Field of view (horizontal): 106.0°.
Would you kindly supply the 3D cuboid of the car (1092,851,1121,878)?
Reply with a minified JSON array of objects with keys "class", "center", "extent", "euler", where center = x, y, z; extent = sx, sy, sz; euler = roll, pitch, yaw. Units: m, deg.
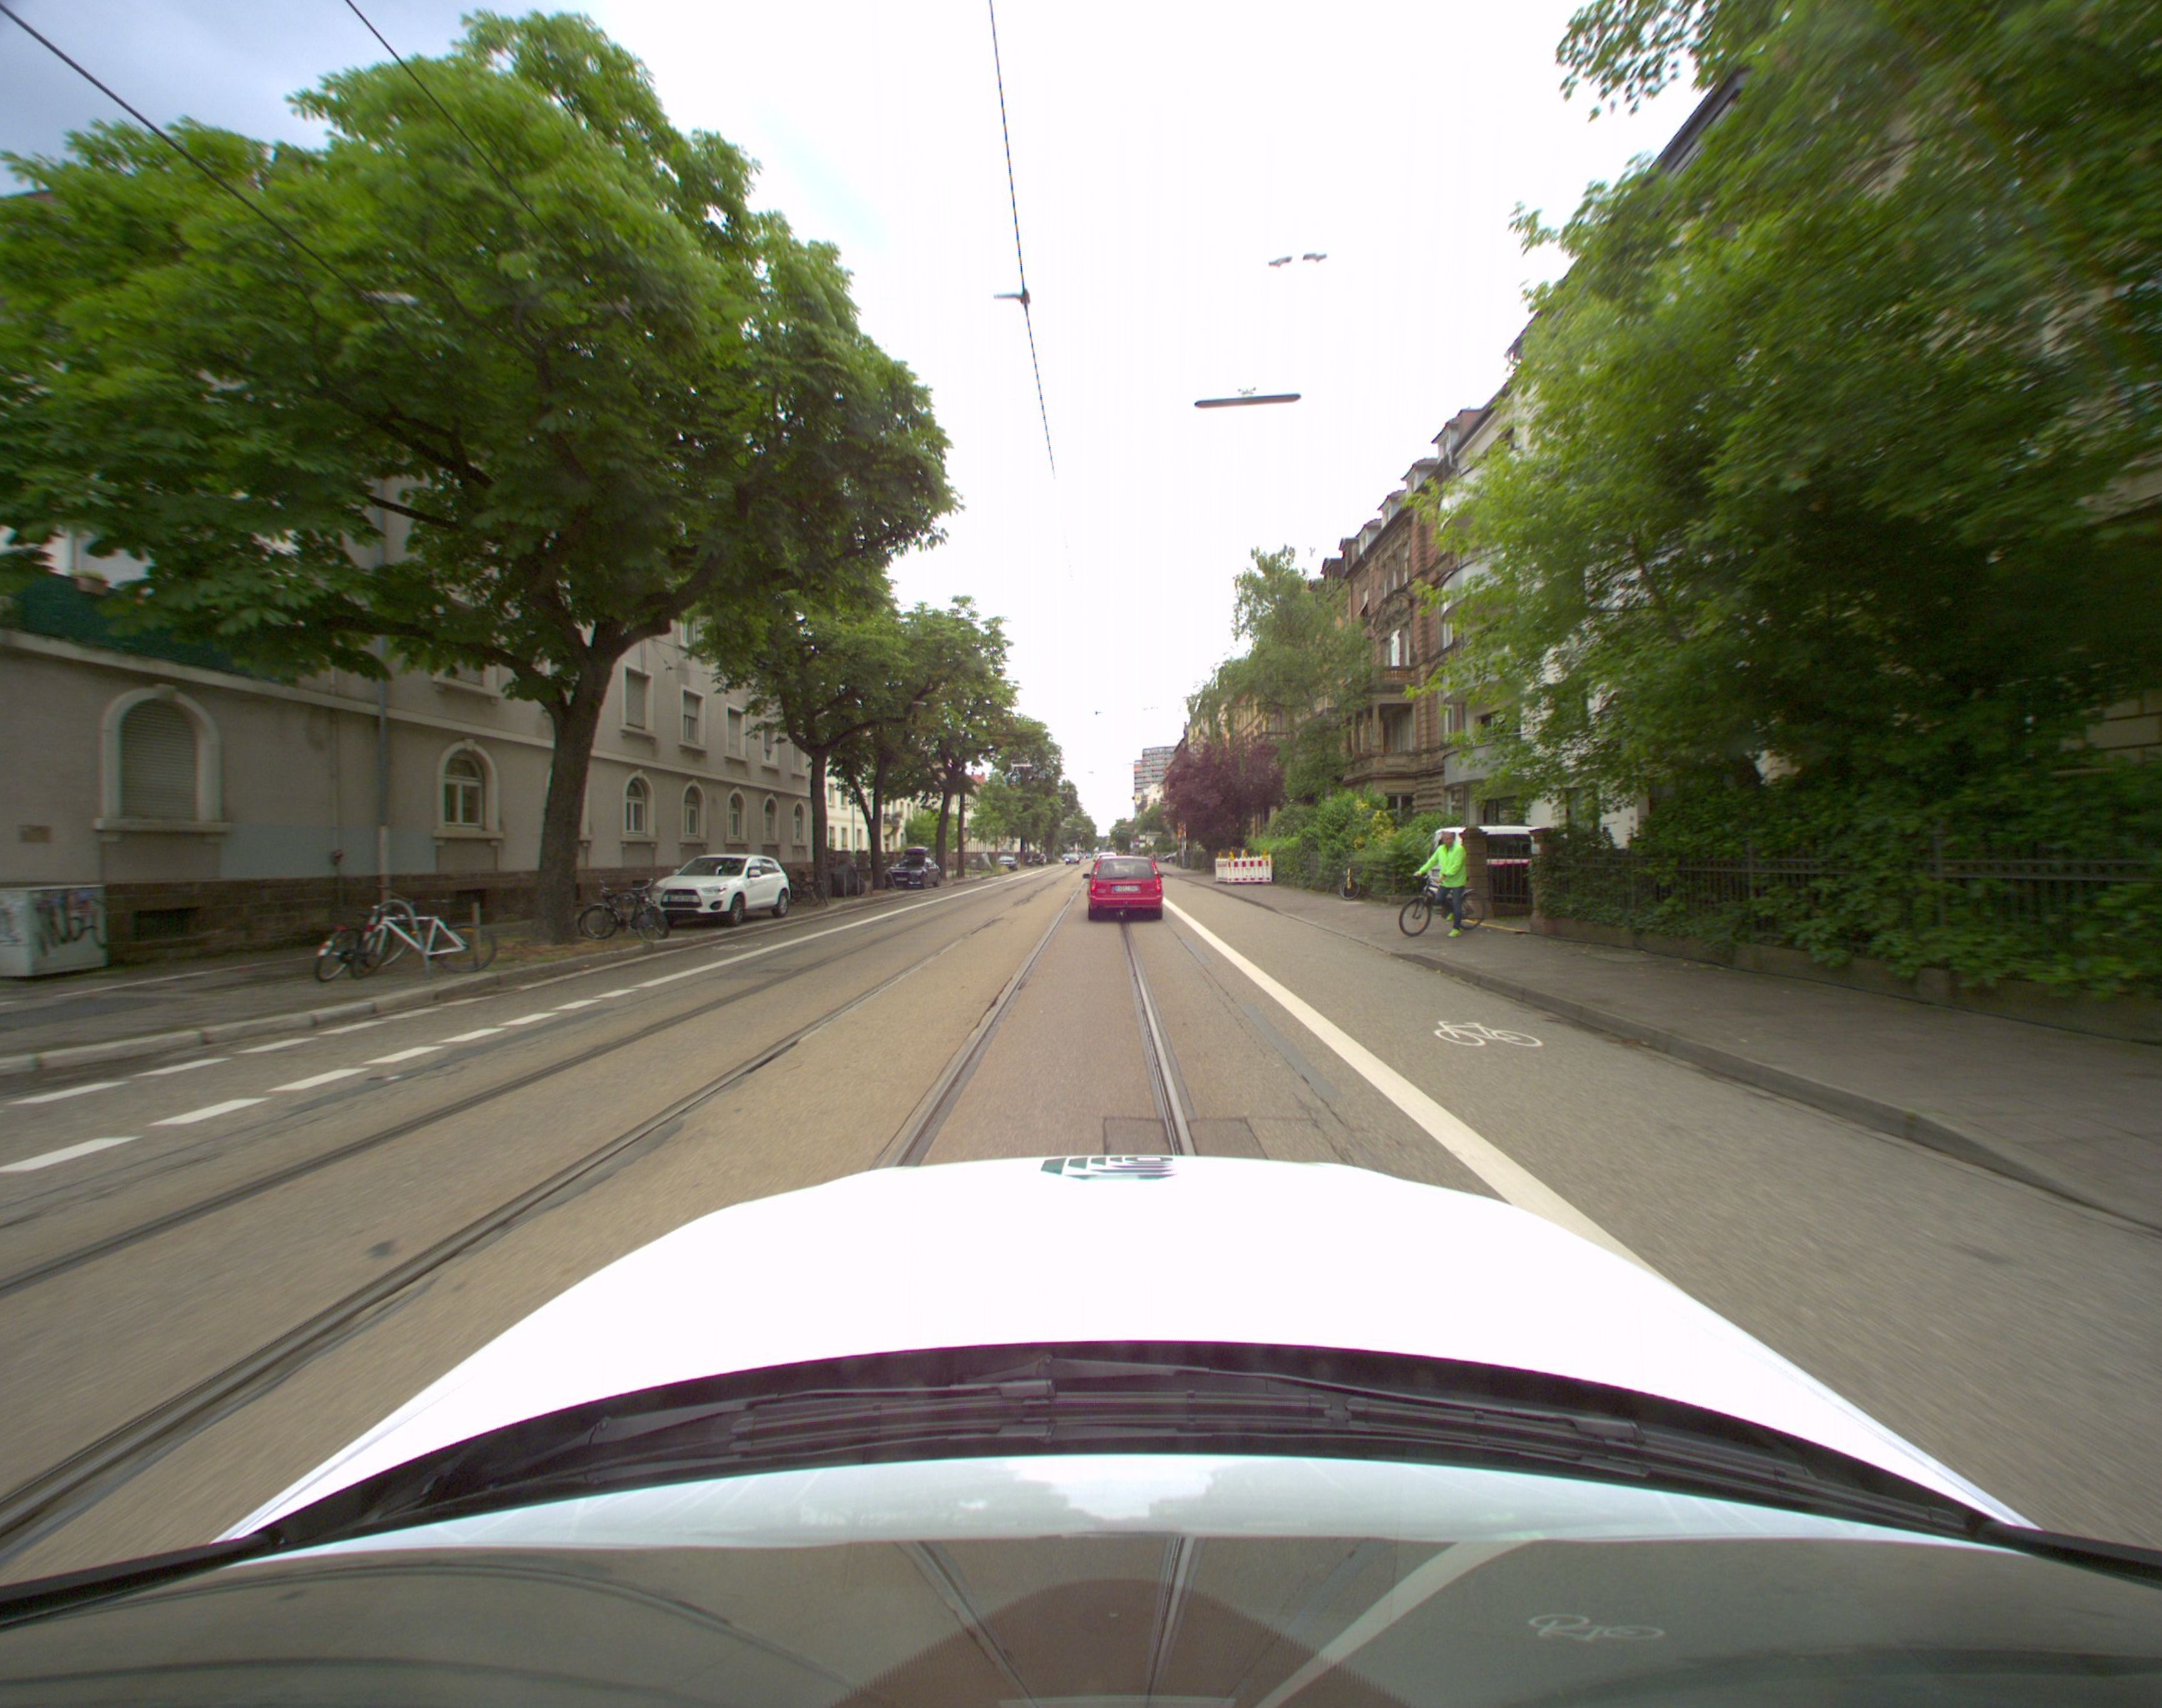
[{"class":"car","center":[1.676,0.666,52.160],"extent":[1.711,1.625,3.944],"euler":[-1,0,4]}]

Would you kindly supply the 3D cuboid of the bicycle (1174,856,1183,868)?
[{"class":"bicycle","center":[8.440,0.708,70.740],"extent":[0.521,1.030,2.177],"euler":[-2,0,1]}]

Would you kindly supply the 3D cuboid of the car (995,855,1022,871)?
[{"class":"car","center":[-6.644,0.827,75.275],"extent":[1.882,1.398,4.420],"euler":[-1,0,3]}]

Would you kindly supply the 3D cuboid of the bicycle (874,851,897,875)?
[{"class":"bicycle","center":[-11.858,0.543,49.554],"extent":[0.789,1.382,2.142],"euler":[-1,0,2]}]

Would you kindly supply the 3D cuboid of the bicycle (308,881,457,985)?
[{"class":"bicycle","center":[-9.198,0.986,10.827],"extent":[0.675,1.136,1.927],"euler":[-1,1,-14]}]

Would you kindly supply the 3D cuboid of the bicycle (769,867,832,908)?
[{"class":"bicycle","center":[-8.485,0.999,24.642],"extent":[1.730,1.192,0.655],"euler":[1,0,15]}]

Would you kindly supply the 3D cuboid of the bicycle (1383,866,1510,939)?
[{"class":"bicycle","center":[6.239,0.819,13.962],"extent":[1.835,1.076,0.606],"euler":[-5,0,0]}]

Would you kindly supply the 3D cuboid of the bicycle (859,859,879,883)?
[{"class":"bicycle","center":[-12.922,1.008,49.696],"extent":[0.625,1.382,2.142],"euler":[-1,0,2]}]

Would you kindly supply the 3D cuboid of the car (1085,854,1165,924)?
[{"class":"car","center":[0.983,0.741,19.099],"extent":[1.683,1.441,3.744],"euler":[0,0,1]}]

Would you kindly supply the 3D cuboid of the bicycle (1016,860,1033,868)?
[{"class":"bicycle","center":[-6.237,1.150,90.320],"extent":[1.742,0.844,0.684],"euler":[-1,0,2]}]

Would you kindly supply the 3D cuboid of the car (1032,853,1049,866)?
[{"class":"car","center":[-5.249,0.689,105.741],"extent":[1.844,1.563,3.944],"euler":[-1,0,2]}]

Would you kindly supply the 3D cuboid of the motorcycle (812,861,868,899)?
[{"class":"motorcycle","center":[-8.618,0.911,29.247],"extent":[0.857,1.288,2.331],"euler":[0,0,15]}]

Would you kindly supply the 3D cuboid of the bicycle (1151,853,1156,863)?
[{"class":"bicycle","center":[10.260,0.607,115.781],"extent":[0.549,1.400,1.734],"euler":[-1,0,2]}]

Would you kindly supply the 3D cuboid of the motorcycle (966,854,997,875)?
[{"class":"motorcycle","center":[-7.341,0.818,60.112],"extent":[2.243,1.511,0.932],"euler":[-1,-2,36]}]

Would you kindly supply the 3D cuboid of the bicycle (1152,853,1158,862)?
[{"class":"bicycle","center":[10.207,0.463,112.272],"extent":[0.705,1.300,1.905],"euler":[-1,0,2]}]

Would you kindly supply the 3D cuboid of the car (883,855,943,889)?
[{"class":"car","center":[-7.831,0.799,38.354],"extent":[1.770,1.511,4.240],"euler":[0,0,2]}]

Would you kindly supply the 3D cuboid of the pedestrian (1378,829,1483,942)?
[{"class":"pedestrian","center":[5.845,0.508,13.690],"extent":[1.224,1.732,1.018],"euler":[-4,0,0]}]

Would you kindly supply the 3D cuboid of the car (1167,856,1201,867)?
[{"class":"car","center":[12.749,0.935,100.717],"extent":[3.961,1.361,1.898],"euler":[-1,0,11]}]

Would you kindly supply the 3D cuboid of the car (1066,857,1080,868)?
[{"class":"car","center":[-1.040,1.120,106.955],"extent":[1.749,1.380,4.027],"euler":[-1,0,1]}]

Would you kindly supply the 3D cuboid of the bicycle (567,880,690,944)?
[{"class":"bicycle","center":[-8.419,1.075,15.190],"extent":[1.915,1.121,0.624],"euler":[1,0,1]}]

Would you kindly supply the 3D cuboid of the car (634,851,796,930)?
[{"class":"car","center":[-8.483,0.767,19.345],"extent":[1.891,1.655,4.225],"euler":[0,0,0]}]

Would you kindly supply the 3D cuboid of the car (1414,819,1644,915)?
[{"class":"car","center":[9.618,0.273,17.734],"extent":[3.972,1.858,1.809],"euler":[-2,0,1]}]

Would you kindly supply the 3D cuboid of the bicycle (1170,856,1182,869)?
[{"class":"bicycle","center":[11.268,1.044,96.803],"extent":[0.910,1.507,2.392],"euler":[-1,0,18]}]

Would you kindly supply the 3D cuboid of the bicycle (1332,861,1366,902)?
[{"class":"bicycle","center":[7.314,0.732,22.280],"extent":[0.477,1.045,1.532],"euler":[-1,0,2]}]

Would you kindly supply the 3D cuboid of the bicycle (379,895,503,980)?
[{"class":"bicycle","center":[-8.296,1.052,10.629],"extent":[0.482,0.958,1.398],"euler":[-1,0,1]}]
